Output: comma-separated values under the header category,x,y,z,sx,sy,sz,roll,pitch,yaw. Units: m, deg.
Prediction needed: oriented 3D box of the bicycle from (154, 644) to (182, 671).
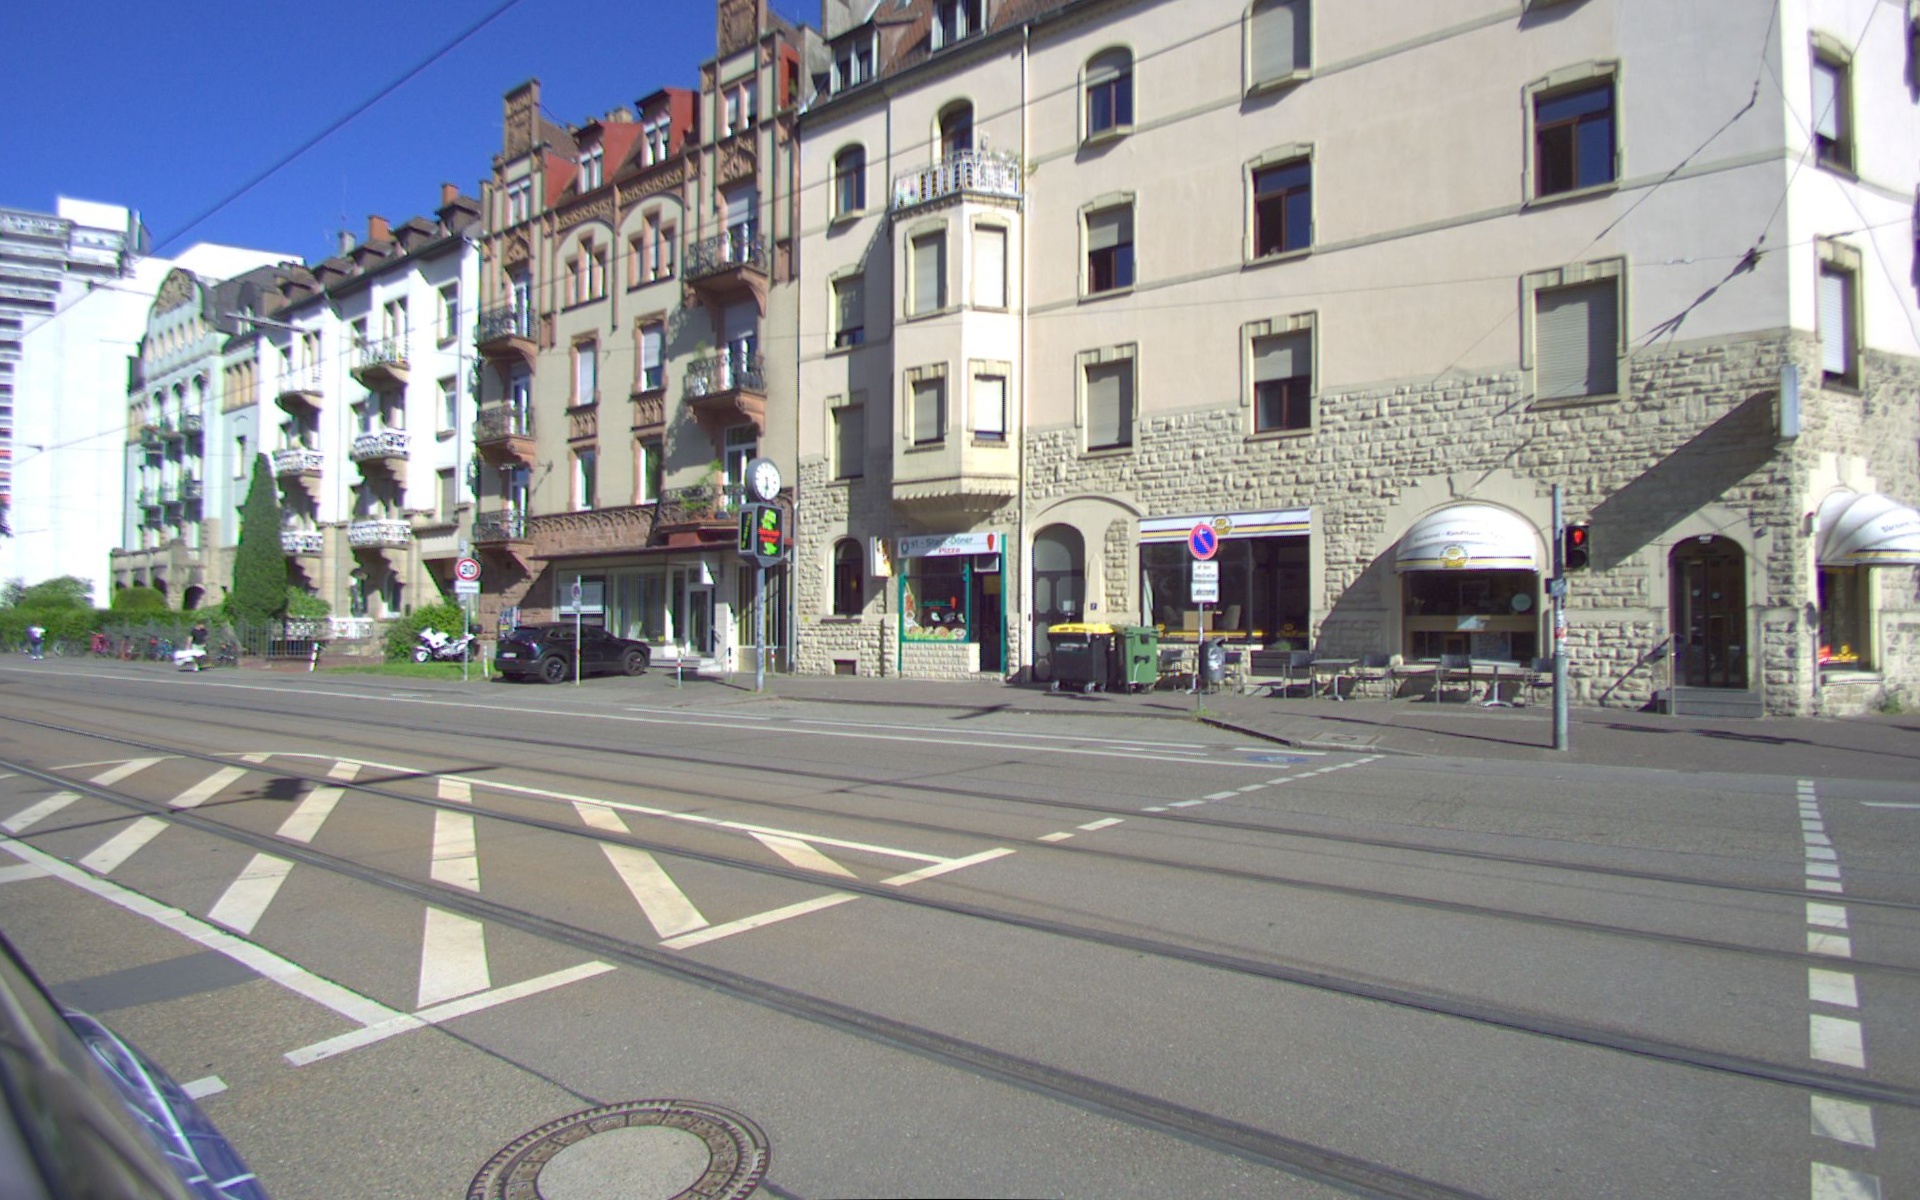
category,x,y,z,sx,sy,sz,roll,pitch,yaw
bicycle,-30.083,2.171,38.427,1.746,0.949,0.400,-1,-1,38

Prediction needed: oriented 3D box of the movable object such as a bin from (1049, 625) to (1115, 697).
category,x,y,z,sx,sy,sz,roll,pitch,yaw
movable object such as a bin,2.471,1.217,20.537,0.844,1.391,1.029,0,-1,-41

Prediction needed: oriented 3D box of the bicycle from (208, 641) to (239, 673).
category,x,y,z,sx,sy,sz,roll,pitch,yaw
bicycle,-25.606,1.975,35.189,1.746,1.047,0.400,-1,-1,38

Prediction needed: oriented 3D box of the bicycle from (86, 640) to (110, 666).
category,x,y,z,sx,sy,sz,roll,pitch,yaw
bicycle,-36.545,2.222,42.885,1.813,1.031,0.400,-1,-1,38

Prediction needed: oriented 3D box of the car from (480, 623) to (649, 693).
category,x,y,z,sx,sy,sz,roll,pitch,yaw
car,-10.469,1.485,27.078,1.765,1.514,3.959,0,2,30

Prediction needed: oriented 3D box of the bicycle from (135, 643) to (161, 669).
category,x,y,z,sx,sy,sz,roll,pitch,yaw
bicycle,-31.743,2.174,39.557,1.646,0.949,0.400,-1,-1,38

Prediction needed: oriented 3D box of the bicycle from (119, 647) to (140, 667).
category,x,y,z,sx,sy,sz,roll,pitch,yaw
bicycle,-33.261,2.276,40.507,1.540,0.767,0.314,-1,-1,38

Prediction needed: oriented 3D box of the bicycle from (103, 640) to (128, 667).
category,x,y,z,sx,sy,sz,roll,pitch,yaw
bicycle,-34.678,2.183,41.536,1.813,1.031,0.400,-1,-1,38

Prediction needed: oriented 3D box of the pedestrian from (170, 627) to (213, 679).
category,x,y,z,sx,sy,sz,roll,pitch,yaw
pedestrian,-25.627,1.746,33.742,0.869,1.640,0.859,-1,3,37

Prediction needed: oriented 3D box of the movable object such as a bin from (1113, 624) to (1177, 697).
category,x,y,z,sx,sy,sz,roll,pitch,yaw
movable object such as a bin,3.690,1.195,20.228,1.011,1.391,0.859,0,-1,-8

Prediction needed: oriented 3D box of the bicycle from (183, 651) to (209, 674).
category,x,y,z,sx,sy,sz,roll,pitch,yaw
bicycle,-27.347,2.237,36.223,1.649,0.767,0.314,-1,-1,38

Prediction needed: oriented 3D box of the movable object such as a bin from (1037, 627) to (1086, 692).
category,x,y,z,sx,sy,sz,roll,pitch,yaw
movable object such as a bin,2.172,1.251,21.703,0.844,1.335,0.658,0,-1,-42

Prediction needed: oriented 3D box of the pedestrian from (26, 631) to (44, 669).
category,x,y,z,sx,sy,sz,roll,pitch,yaw
pedestrian,-41.105,2.214,44.974,0.658,1.641,0.470,-1,-1,37

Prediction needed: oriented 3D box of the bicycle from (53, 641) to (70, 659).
category,x,y,z,sx,sy,sz,roll,pitch,yaw
bicycle,-41.281,2.295,46.494,1.261,0.767,0.335,-1,-1,38

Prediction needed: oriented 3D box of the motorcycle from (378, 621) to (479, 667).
category,x,y,z,sx,sy,sz,roll,pitch,yaw
motorcycle,-18.185,1.473,34.701,0.821,1.467,3.058,-1,-1,34

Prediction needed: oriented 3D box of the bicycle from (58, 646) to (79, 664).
category,x,y,z,sx,sy,sz,roll,pitch,yaw
bicycle,-40.122,2.462,45.534,1.579,0.767,0.400,-1,-1,38

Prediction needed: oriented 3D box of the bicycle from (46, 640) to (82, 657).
category,x,y,z,sx,sy,sz,roll,pitch,yaw
bicycle,-43.350,2.332,48.966,0.297,0.799,1.247,-1,-1,37

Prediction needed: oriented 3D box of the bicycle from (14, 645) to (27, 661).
category,x,y,z,sx,sy,sz,roll,pitch,yaw
bicycle,-46.792,2.652,50.400,1.261,0.767,0.293,-1,-1,38
